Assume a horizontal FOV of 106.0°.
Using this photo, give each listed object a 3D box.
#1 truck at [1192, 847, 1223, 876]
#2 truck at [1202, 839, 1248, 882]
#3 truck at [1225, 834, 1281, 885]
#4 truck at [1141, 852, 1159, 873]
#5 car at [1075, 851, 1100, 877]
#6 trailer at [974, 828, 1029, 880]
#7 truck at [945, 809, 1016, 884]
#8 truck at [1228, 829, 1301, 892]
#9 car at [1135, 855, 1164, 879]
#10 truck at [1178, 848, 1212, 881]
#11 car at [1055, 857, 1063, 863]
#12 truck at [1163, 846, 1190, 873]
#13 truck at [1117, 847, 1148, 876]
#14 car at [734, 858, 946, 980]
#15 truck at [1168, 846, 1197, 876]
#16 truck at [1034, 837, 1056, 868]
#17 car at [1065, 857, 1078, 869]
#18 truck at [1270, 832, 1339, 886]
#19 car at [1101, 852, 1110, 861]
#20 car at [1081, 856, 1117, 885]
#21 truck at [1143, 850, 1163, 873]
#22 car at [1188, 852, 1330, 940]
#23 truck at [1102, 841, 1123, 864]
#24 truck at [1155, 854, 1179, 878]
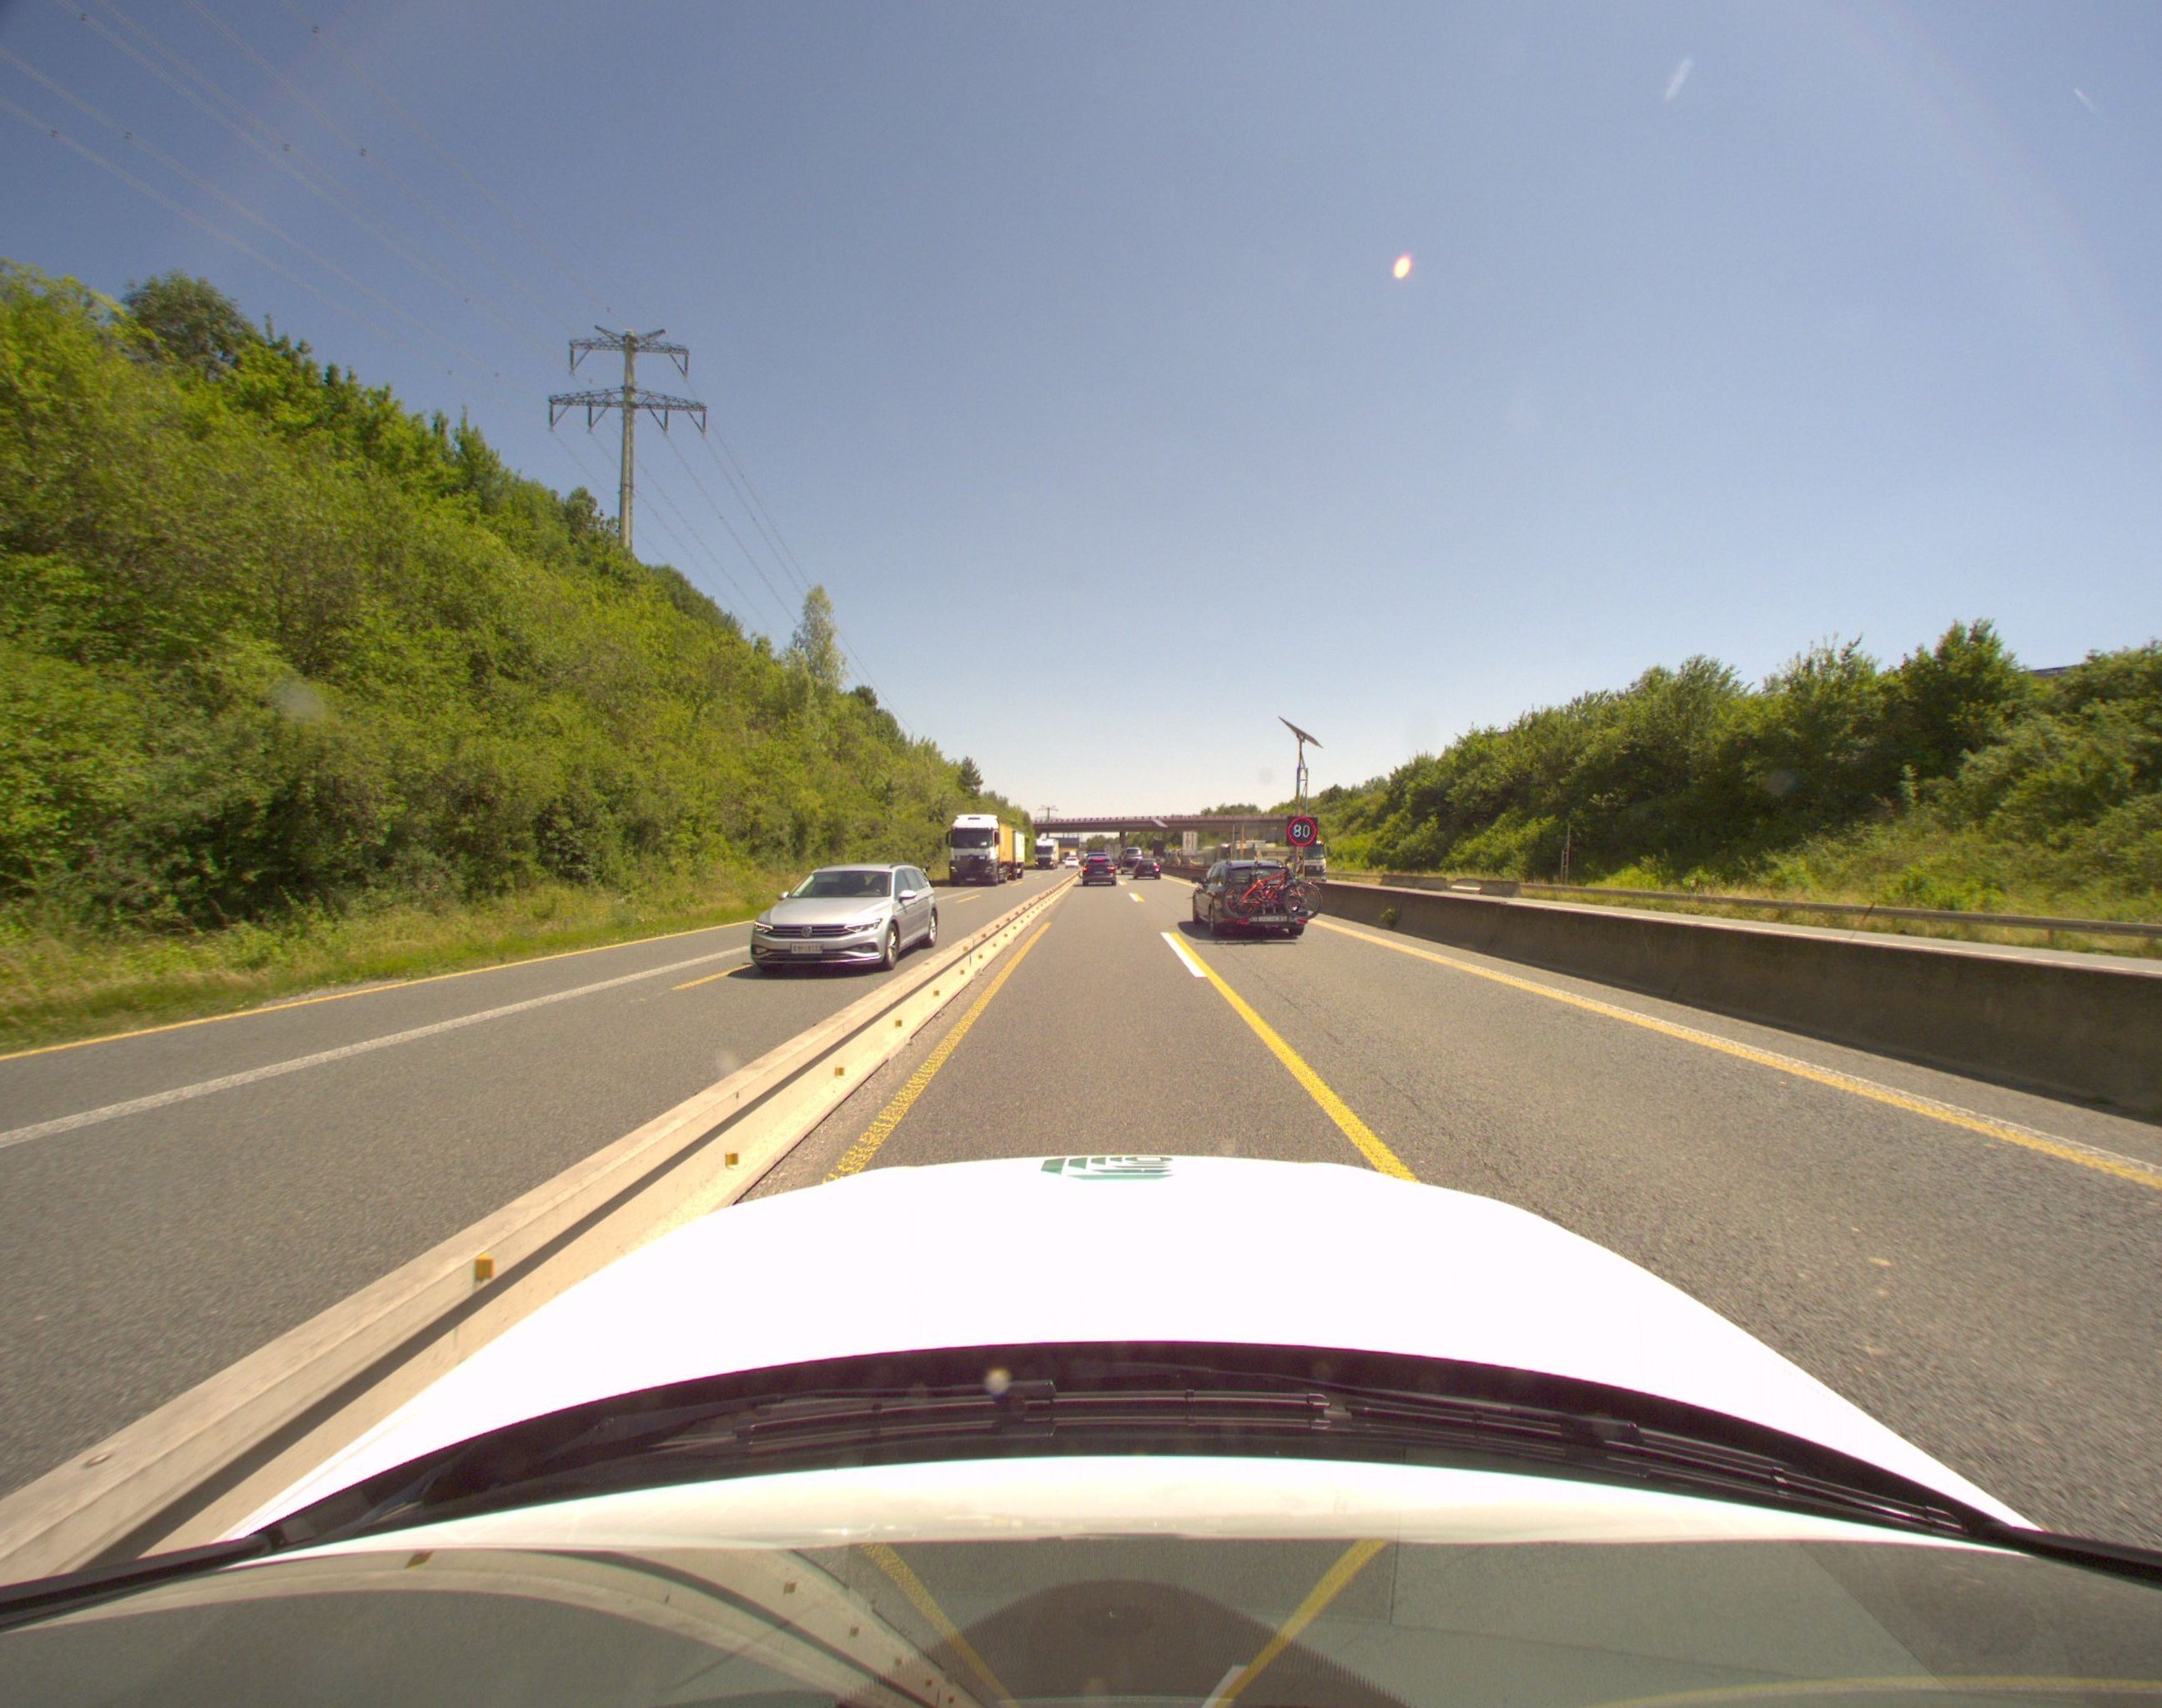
[{"bbox_3d":[15.619,0.913,100.960,2.677,3.378,9.606,0,0,2],"label":"truck"},{"bbox_3d":[12.653,0.567,72.391,2.530,3.557,9.603,0,0,1],"label":"truck"},{"bbox_3d":[12.600,0.407,60.309,2.523,3.511,8.947,0,0,2],"label":"truck"},{"bbox_3d":[13.049,1.563,153.909,2.678,3.856,9.324,0,0,0],"label":"truck"},{"bbox_3d":[0.532,0.785,63.171,1.892,1.969,4.277,0,-1,2],"label":"car"},{"bbox_3d":[-5.475,-0.012,57.761,2.640,3.336,8.922,1,0,2],"label":"trailer"},{"bbox_3d":[-5.769,-0.396,48.487,2.639,3.992,9.654,1,0,2],"label":"truck"},{"bbox_3d":[11.084,0.357,50.088,2.524,3.511,9.097,0,0,1],"label":"truck"},{"bbox_3d":[4.722,0.865,56.680,1.891,1.585,4.279,0,0,3],"label":"car"},{"bbox_3d":[12.593,1.120,90.748,2.678,3.557,9.604,0,0,1],"label":"truck"},{"bbox_3d":[-5.861,1.679,215.124,1.787,1.525,4.532,0,0,1],"label":"car"},{"bbox_3d":[13.327,0.764,114.612,2.678,3.557,9.323,0,0,0],"label":"truck"},{"bbox_3d":[4.641,0.653,74.351,2.398,2.558,7.498,0,0,0],"label":"truck"},{"bbox_3d":[-3.416,0.842,12.531,1.835,1.490,4.511,-1,-1,1],"label":"car"},{"bbox_3d":[12.715,0.881,102.741,2.678,3.557,9.406,0,0,0],"label":"truck"},{"bbox_3d":[-4.793,-0.132,109.843,2.402,3.992,10.351,0,0,0],"label":"truck"},{"bbox_3d":[-1.330,1.330,116.555,1.818,1.631,4.151,0,-1,1],"label":"car"},{"bbox_3d":[15.650,0.367,57.633,2.678,3.511,8.380,0,0,1],"label":"truck"},{"bbox_3d":[5.425,0.561,179.801,1.892,1.969,4.277,0,-1,2],"label":"car"},{"bbox_3d":[1.013,0.875,45.021,1.892,1.505,4.277,0,0,2],"label":"car"},{"bbox_3d":[12.503,1.298,142.046,2.678,3.761,9.324,0,0,0],"label":"truck"},{"bbox_3d":[3.337,0.746,16.288,1.892,1.490,4.949,0,-1,2],"label":"car"},{"bbox_3d":[5.523,-0.197,144.455,3.283,3.845,10.104,0,0,-1],"label":"truck"},{"bbox_3d":[12.984,1.746,123.593,2.678,3.557,9.323,0,0,0],"label":"truck"}]
